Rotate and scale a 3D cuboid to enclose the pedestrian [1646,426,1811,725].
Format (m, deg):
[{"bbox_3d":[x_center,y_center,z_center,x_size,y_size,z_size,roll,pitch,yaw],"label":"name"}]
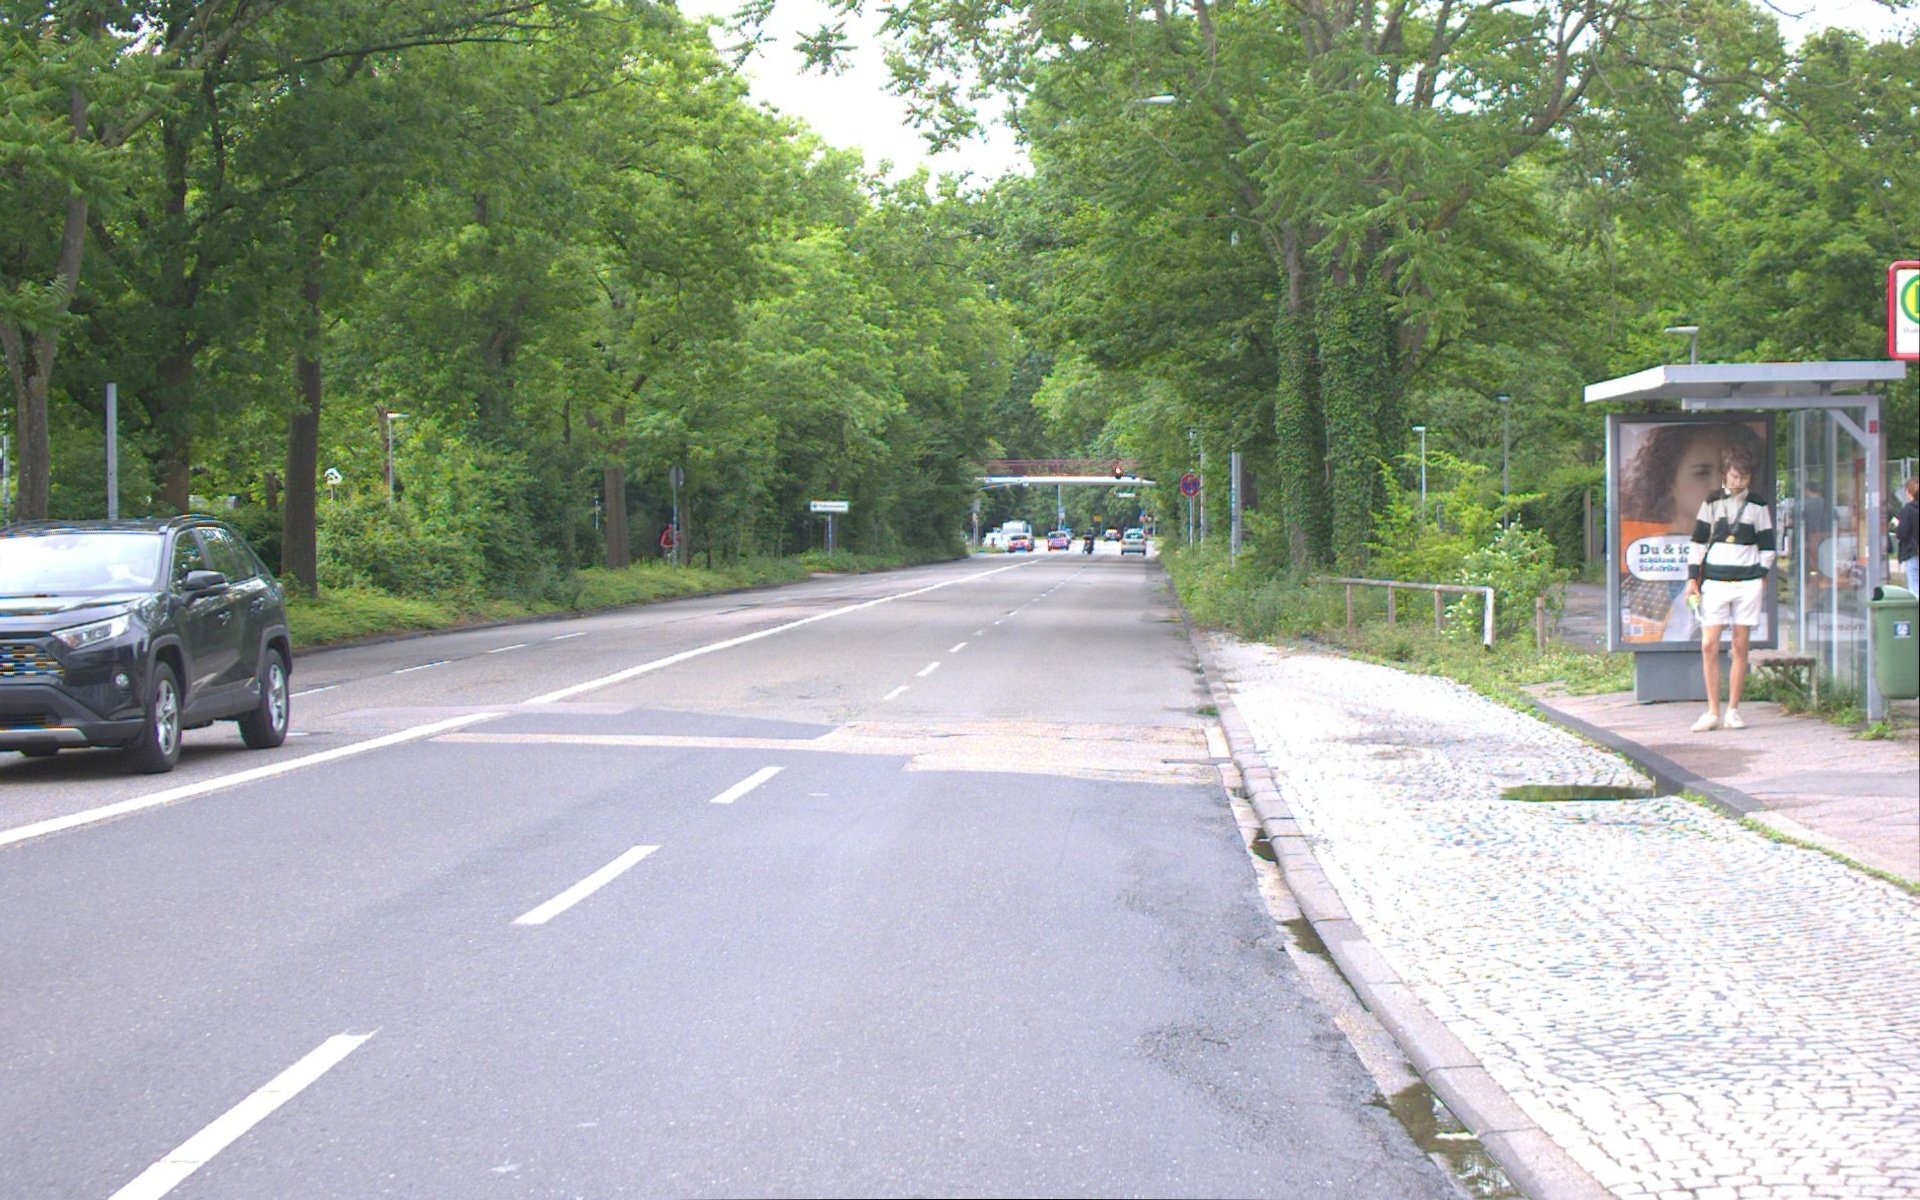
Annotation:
[{"bbox_3d":[5.355,-0.184,24.008,0.912,2.006,0.854,-3,3,2],"label":"pedestrian"}]

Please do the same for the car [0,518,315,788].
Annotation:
[{"bbox_3d":[-5.766,0.282,22.718,1.903,1.588,4.516,-1,1,3],"label":"car"}]

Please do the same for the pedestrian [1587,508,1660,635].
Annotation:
[{"bbox_3d":[10.710,-0.471,55.538,0.925,2.007,1.040,-1,1,-1],"label":"pedestrian"}]

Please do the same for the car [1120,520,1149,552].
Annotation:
[{"bbox_3d":[11.349,-4.161,223.118,1.843,2.007,4.000,1,1,3],"label":"car"}]

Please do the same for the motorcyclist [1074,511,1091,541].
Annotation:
[{"bbox_3d":[8.075,-4.886,227.030,1.063,2.007,0.842,1,1,3],"label":"motorcyclist"}]

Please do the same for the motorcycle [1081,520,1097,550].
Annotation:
[{"bbox_3d":[8.547,-4.303,226.980,0.990,1.929,2.669,1,1,3],"label":"motorcycle"}]

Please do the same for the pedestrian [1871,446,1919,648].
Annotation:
[{"bbox_3d":[9.708,-0.543,34.627,0.842,2.007,0.894,-1,1,3],"label":"pedestrian"}]

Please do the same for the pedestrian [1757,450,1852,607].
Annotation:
[{"bbox_3d":[11.014,-0.936,44.872,0.925,2.007,1.040,-1,1,-1],"label":"pedestrian"}]

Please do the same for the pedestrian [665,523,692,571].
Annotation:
[{"bbox_3d":[-9.491,-1.789,115.848,0.792,1.608,0.848,1,1,3],"label":"pedestrian"}]
